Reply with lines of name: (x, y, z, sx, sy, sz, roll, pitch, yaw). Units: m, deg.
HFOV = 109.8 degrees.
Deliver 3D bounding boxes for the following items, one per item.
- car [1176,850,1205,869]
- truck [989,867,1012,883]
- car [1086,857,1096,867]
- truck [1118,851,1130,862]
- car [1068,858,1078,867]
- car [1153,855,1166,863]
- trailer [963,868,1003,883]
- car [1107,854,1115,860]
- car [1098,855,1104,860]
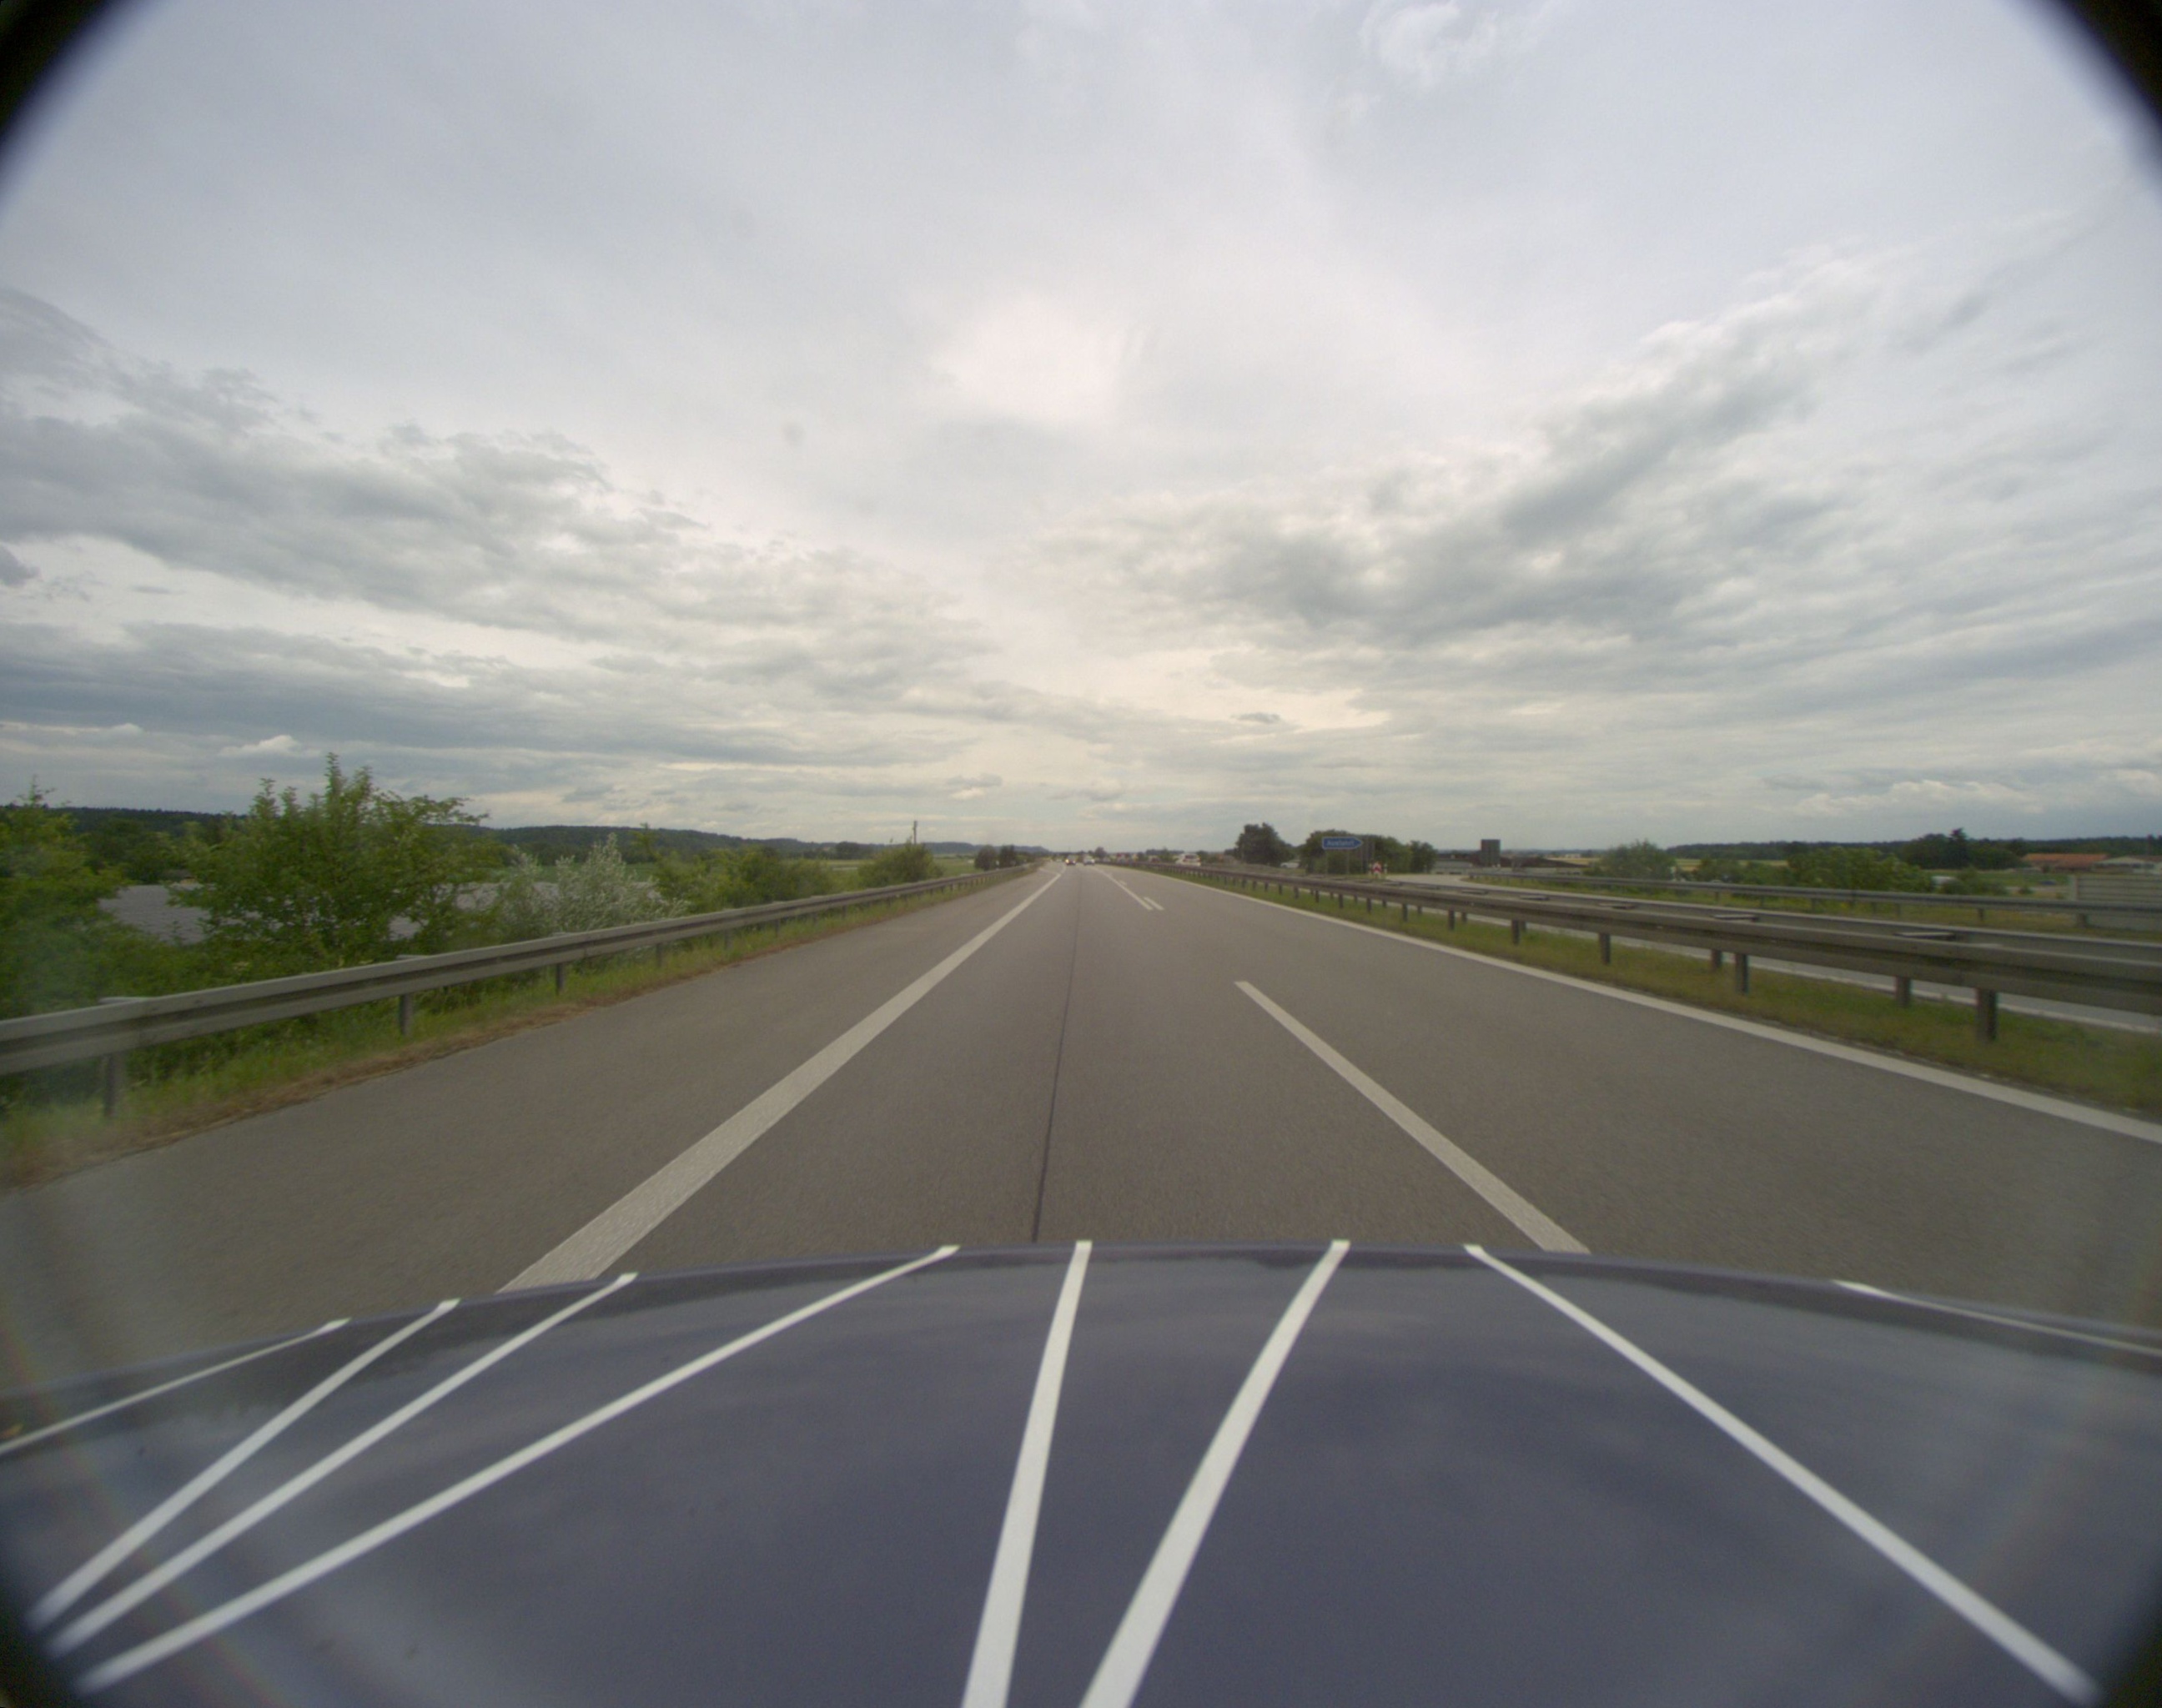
car: (10.630, 0.562, 74.169, 2.075, 1.735, 4.961, 2, -1, 0)
truck: (-25.137, 6.619, 238.453, 7.138, 4.759, 3.018, 0, 0, -5)
car: (1.858, 1.466, 139.900, 1.850, 1.665, 4.200, 1, -1, 1)
truck: (14.002, 0.720, 248.582, 2.676, 3.515, 11.076, 2, 0, -2)
car: (-1.648, 1.662, 151.050, 1.851, 1.850, 3.999, 1, -1, -2)
car: (13.444, 0.863, 130.017, 1.804, 1.385, 4.000, -2, -1, 0)
trailer: (-30.626, 6.657, 237.979, 12.305, 4.759, 3.018, 0, 0, -5)
car: (8.261, 0.902, 209.279, 1.896, 1.578, 4.762, 1, 0, -1)
car: (6.426, 1.084, 244.373, 1.896, 1.578, 4.762, 1, 0, -1)
